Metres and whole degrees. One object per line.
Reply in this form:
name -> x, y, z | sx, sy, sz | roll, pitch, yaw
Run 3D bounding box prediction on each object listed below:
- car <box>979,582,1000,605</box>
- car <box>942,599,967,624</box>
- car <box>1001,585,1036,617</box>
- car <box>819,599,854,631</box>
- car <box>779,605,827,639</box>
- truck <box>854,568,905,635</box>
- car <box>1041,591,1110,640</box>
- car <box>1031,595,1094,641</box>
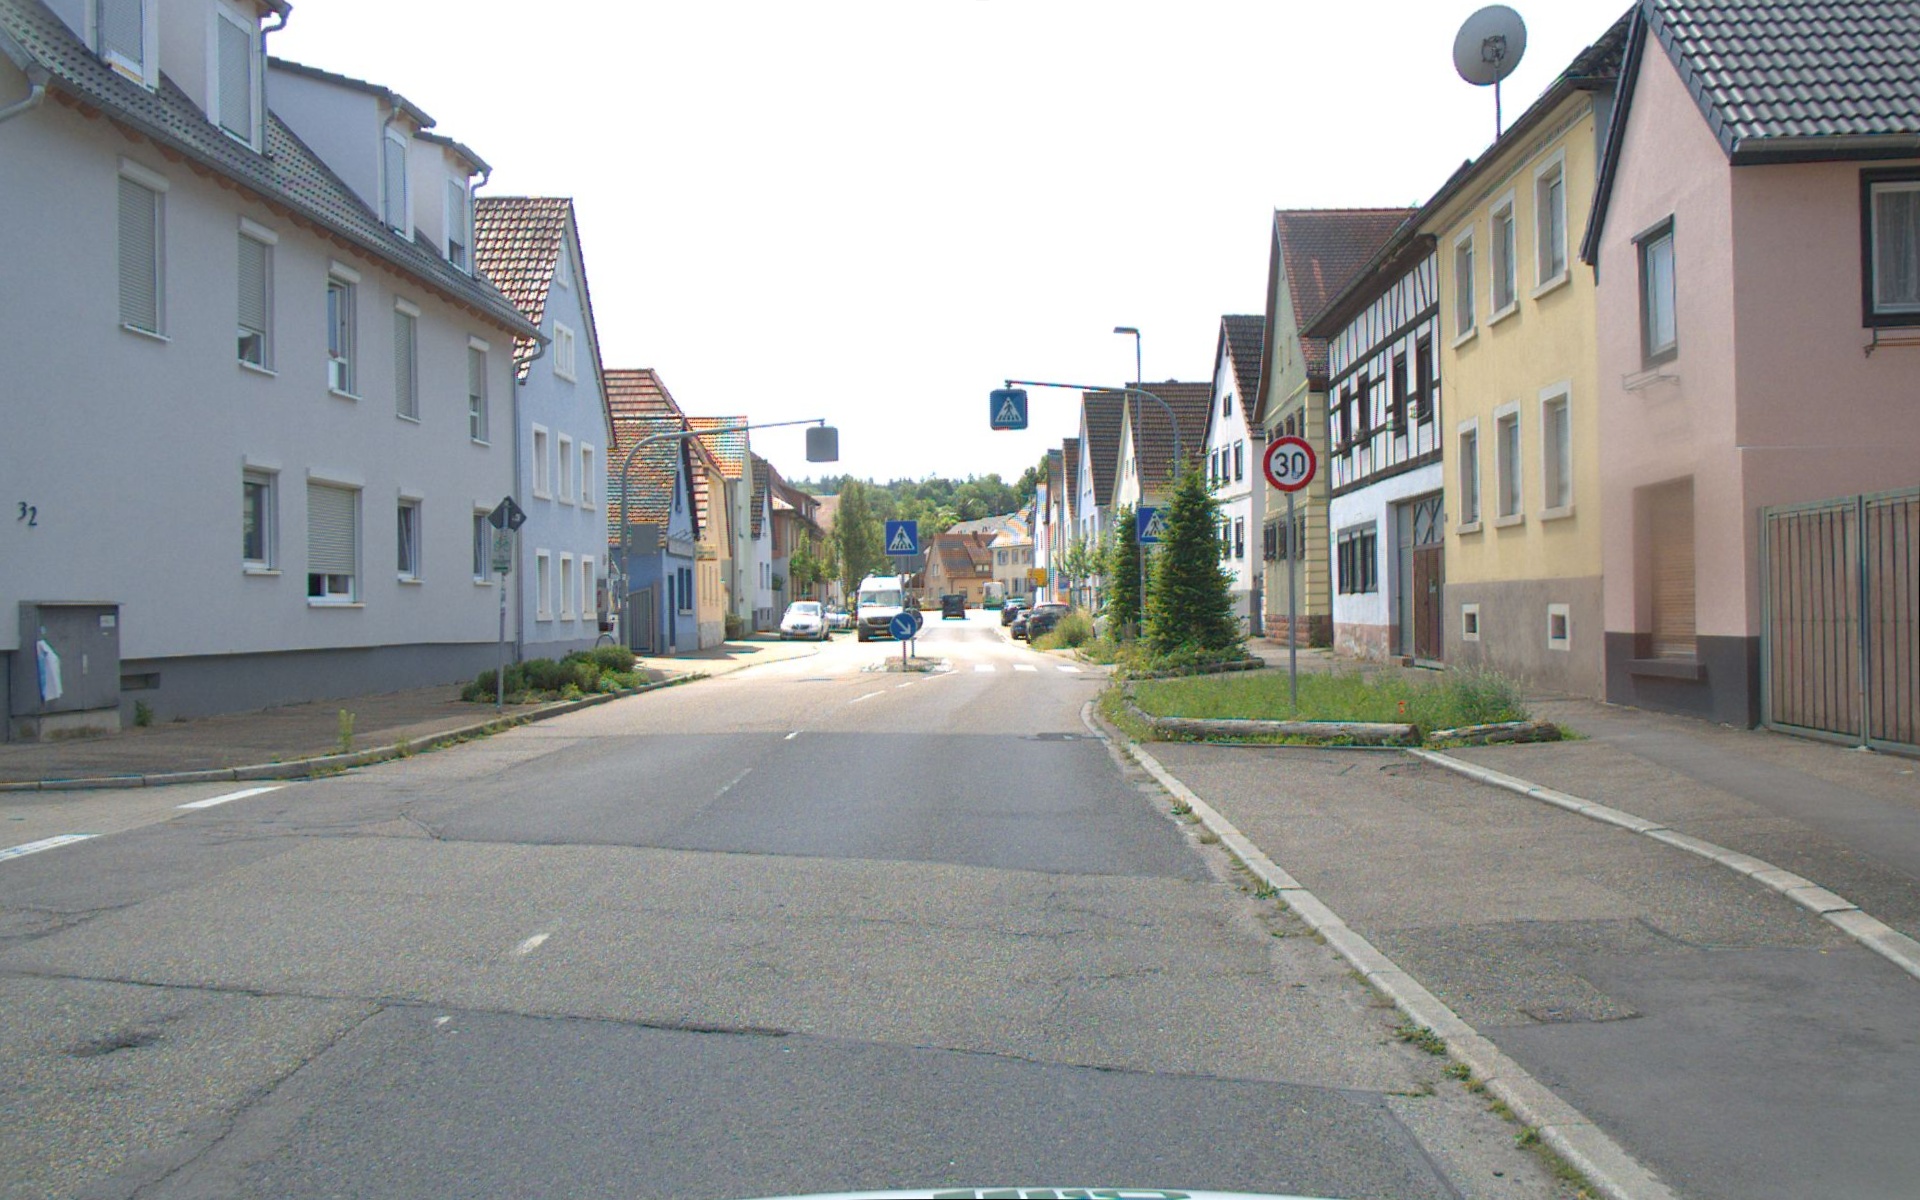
car -> 2.826, -0.591, 159.097 | 1.953, 2.049, 3.998 | 0, -2, -1
car -> -0.454, 0.942, 132.177 | 1.953, 1.848, 3.998 | 0, -2, -2
car -> 3.612, 0.054, 102.584 | 1.953, 1.848, 3.998 | 0, -2, -2
car -> -6.705, 0.844, 89.813 | 1.633, 1.624, 3.999 | 0, -2, -1
car -> -6.578, 0.939, 69.108 | 1.955, 1.344, 3.703 | 0, -2, -6
truck -> -3.339, 0.113, 69.532 | 1.953, 2.581, 6.736 | 0, -2, -1
car -> 3.796, 0.538, 54.880 | 1.953, 1.534, 3.999 | 0, -2, -1
car -> 3.631, 0.680, 58.990 | 1.953, 1.534, 3.999 | 0, -2, -1
